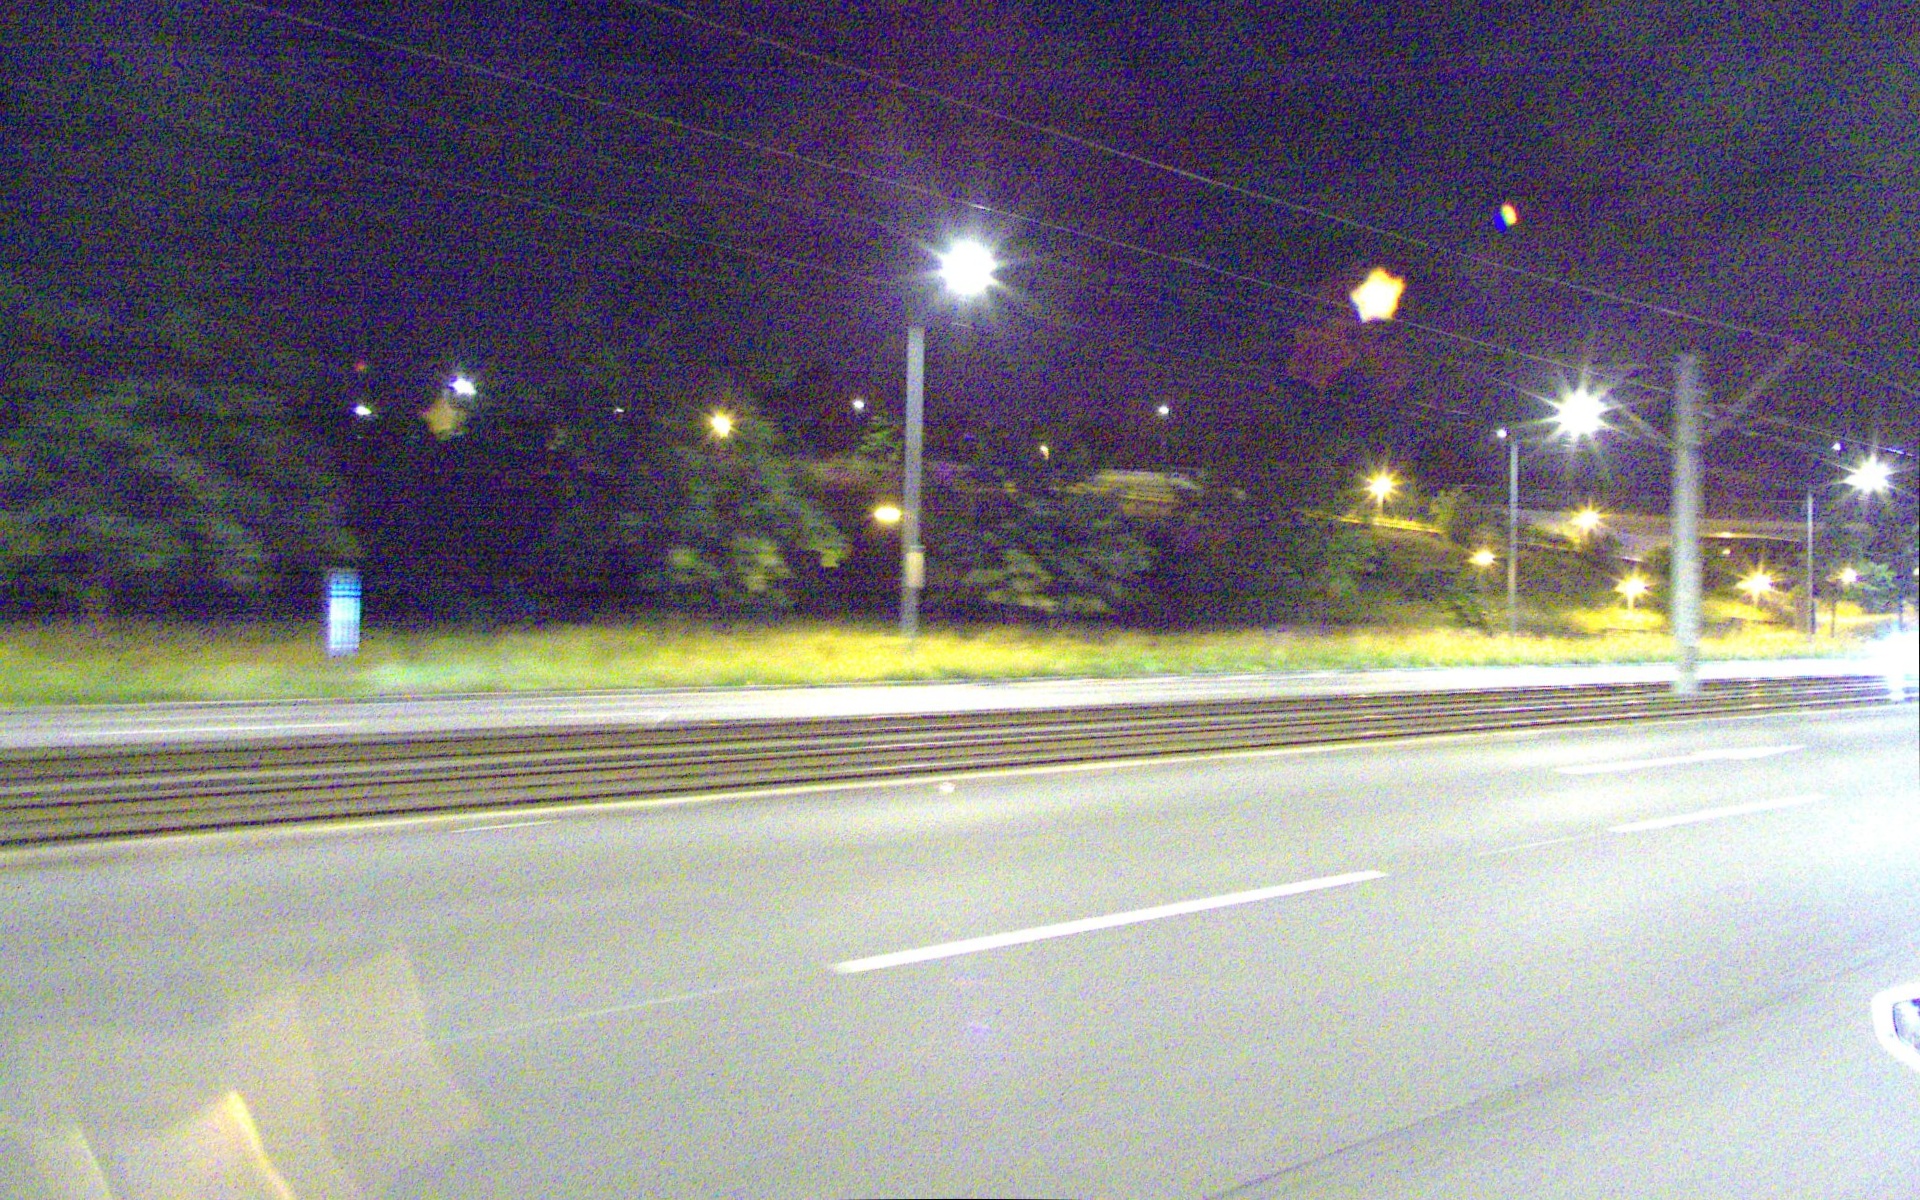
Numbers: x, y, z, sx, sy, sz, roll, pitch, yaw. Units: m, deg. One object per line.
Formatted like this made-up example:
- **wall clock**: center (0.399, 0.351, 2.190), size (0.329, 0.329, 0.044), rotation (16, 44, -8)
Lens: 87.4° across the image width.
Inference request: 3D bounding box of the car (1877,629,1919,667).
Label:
- **car**: center (47.903, 2.378, 50.374), size (3.658, 1.773, 1.854), rotation (0, 0, -31)
